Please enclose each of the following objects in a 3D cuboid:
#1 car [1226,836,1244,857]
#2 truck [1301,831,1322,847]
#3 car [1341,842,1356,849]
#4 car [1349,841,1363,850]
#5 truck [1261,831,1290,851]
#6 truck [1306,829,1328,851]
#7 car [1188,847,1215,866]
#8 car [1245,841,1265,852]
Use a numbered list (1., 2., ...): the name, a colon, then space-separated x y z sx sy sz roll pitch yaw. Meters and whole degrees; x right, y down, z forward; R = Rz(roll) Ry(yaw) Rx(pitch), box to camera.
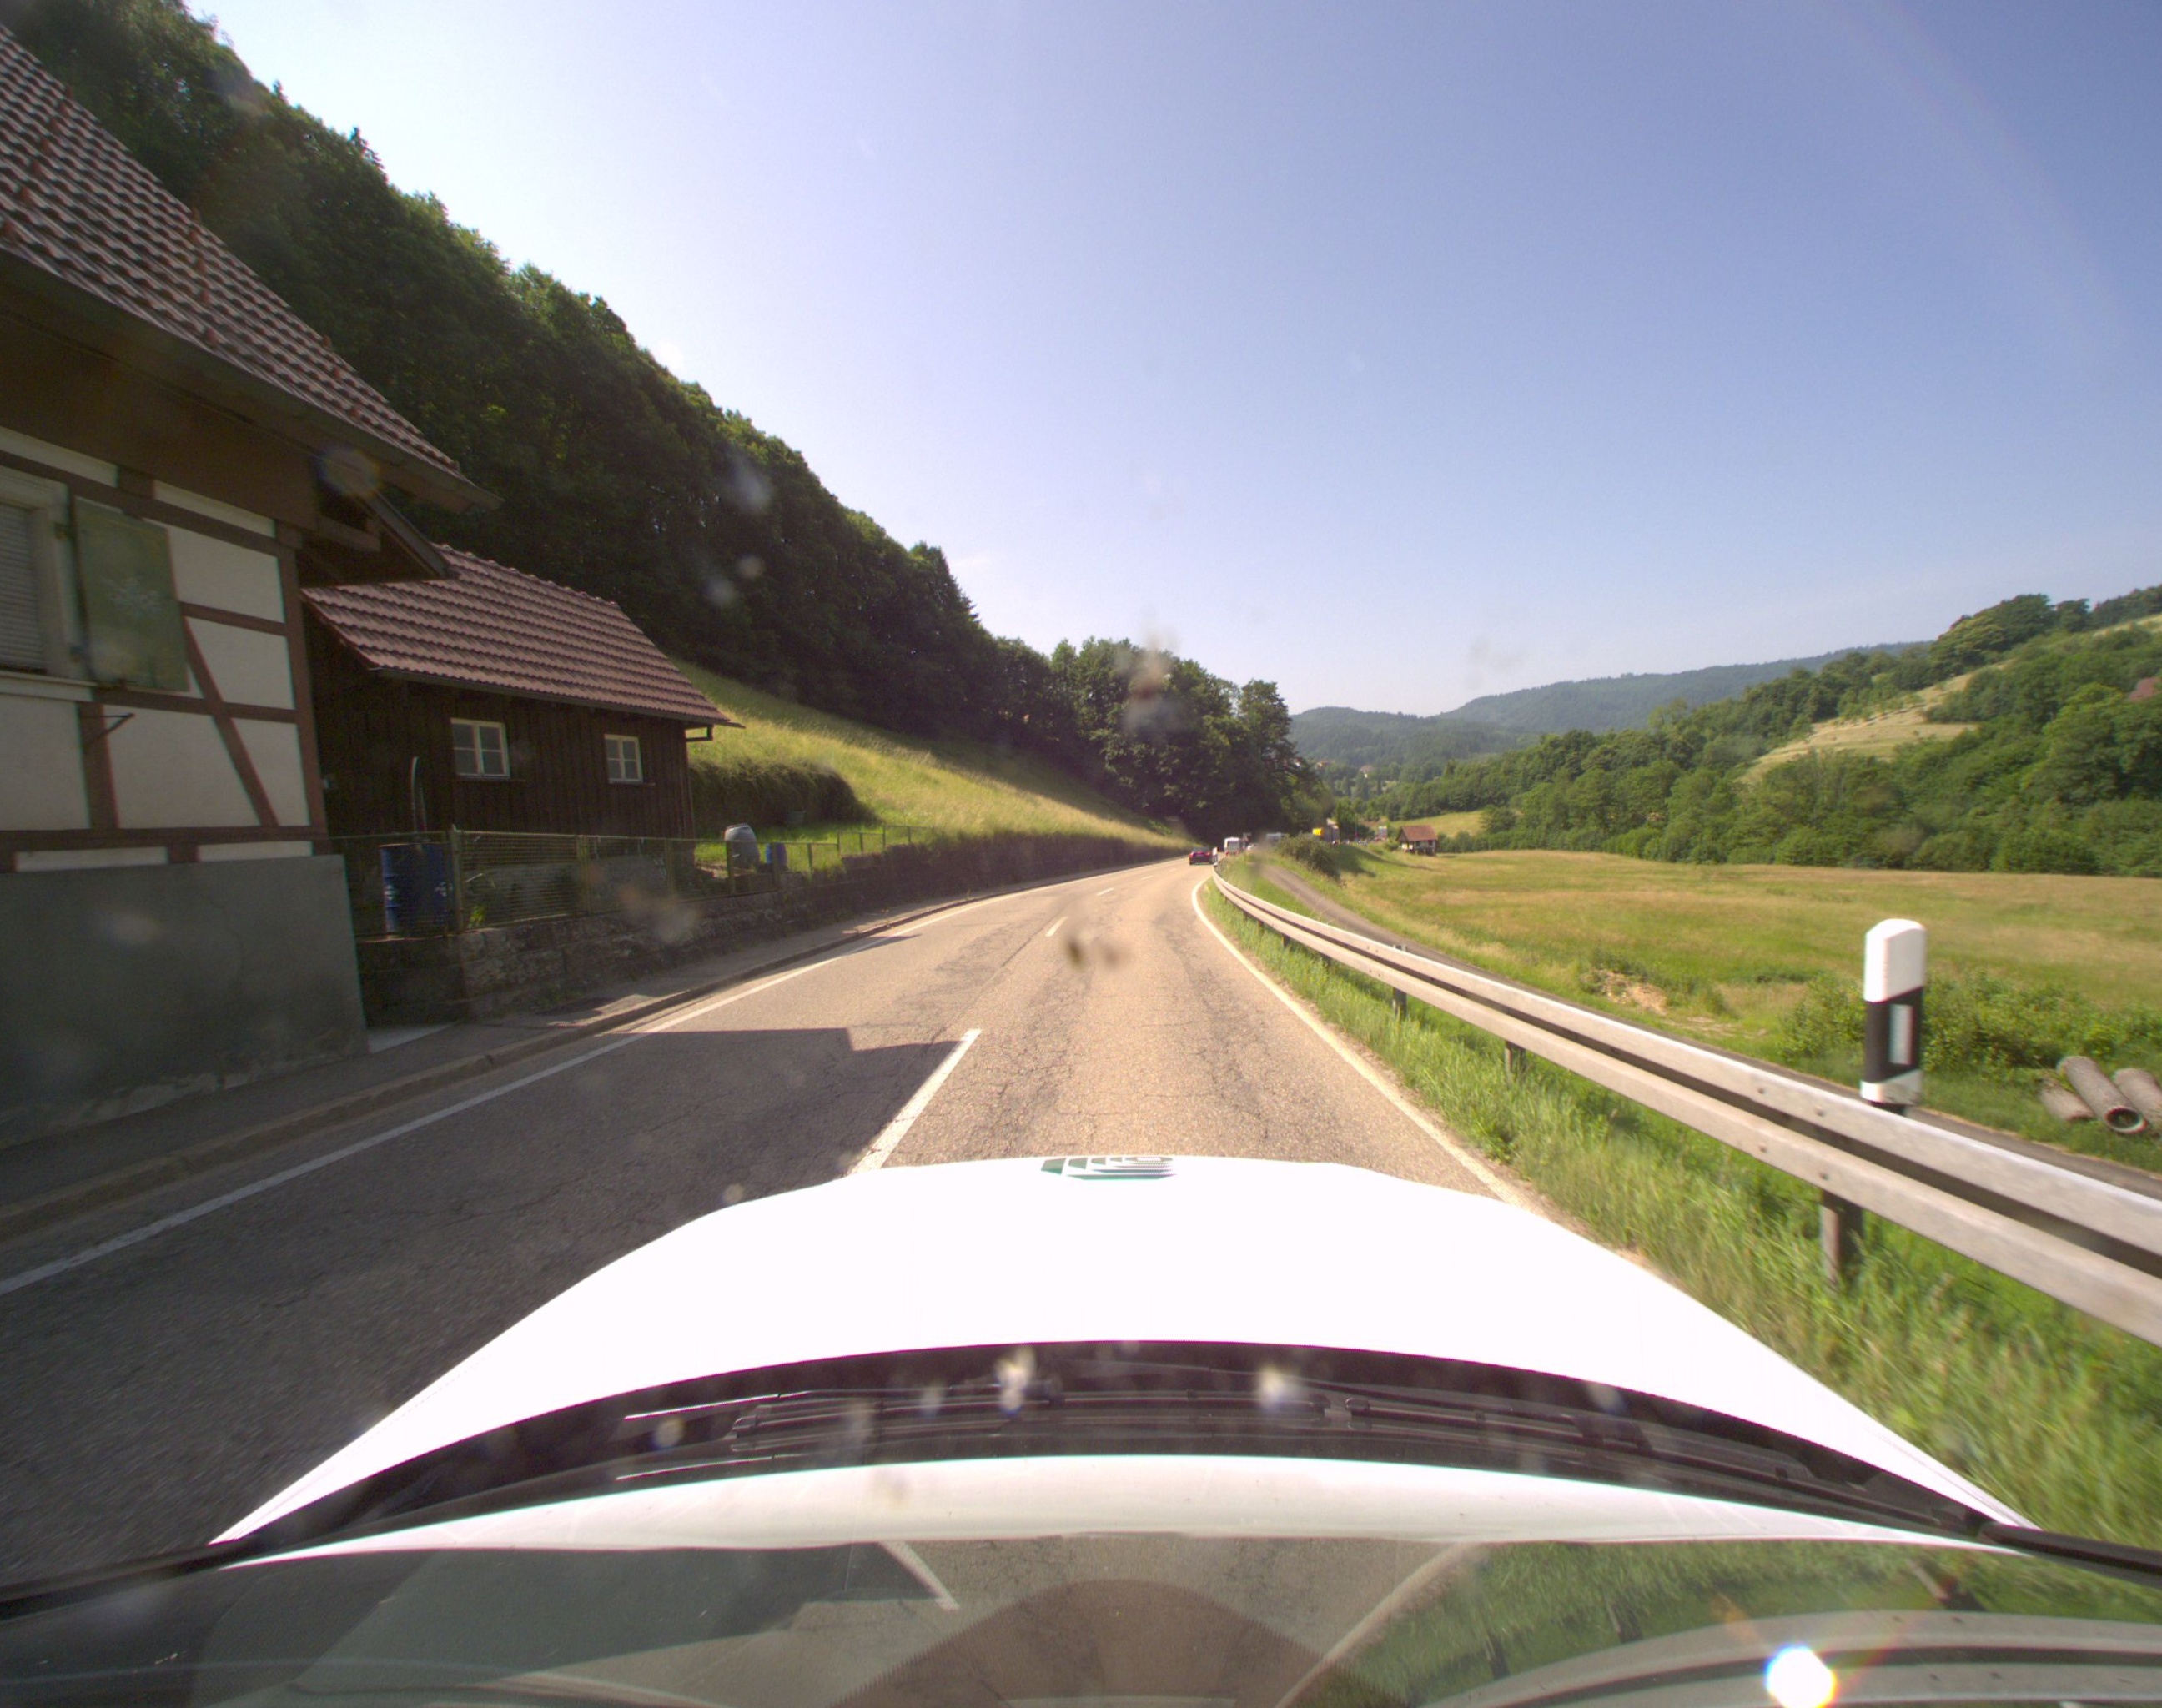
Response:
1. car: 18.946 -0.972 99.922 1.979 2.352 4.933 -1 2 13
2. truck: 41.693 -2.652 147.150 2.216 2.804 6.270 0 0 29
3. car: 54.837 -1.773 166.922 1.888 1.485 4.026 2 2 32
4. car: 59.149 -1.781 175.017 1.974 1.925 4.026 1 2 34
5. truck: 30.420 -2.054 127.263 2.765 2.997 6.910 2 2 27
6. truck: 48.724 -3.014 167.797 3.159 4.396 6.611 1 2 27
7. car: 9.422 0.171 63.420 1.759 1.335 3.781 -1 2 13
8. car: 24.673 -1.122 115.230 1.976 1.484 4.022 1 2 23
